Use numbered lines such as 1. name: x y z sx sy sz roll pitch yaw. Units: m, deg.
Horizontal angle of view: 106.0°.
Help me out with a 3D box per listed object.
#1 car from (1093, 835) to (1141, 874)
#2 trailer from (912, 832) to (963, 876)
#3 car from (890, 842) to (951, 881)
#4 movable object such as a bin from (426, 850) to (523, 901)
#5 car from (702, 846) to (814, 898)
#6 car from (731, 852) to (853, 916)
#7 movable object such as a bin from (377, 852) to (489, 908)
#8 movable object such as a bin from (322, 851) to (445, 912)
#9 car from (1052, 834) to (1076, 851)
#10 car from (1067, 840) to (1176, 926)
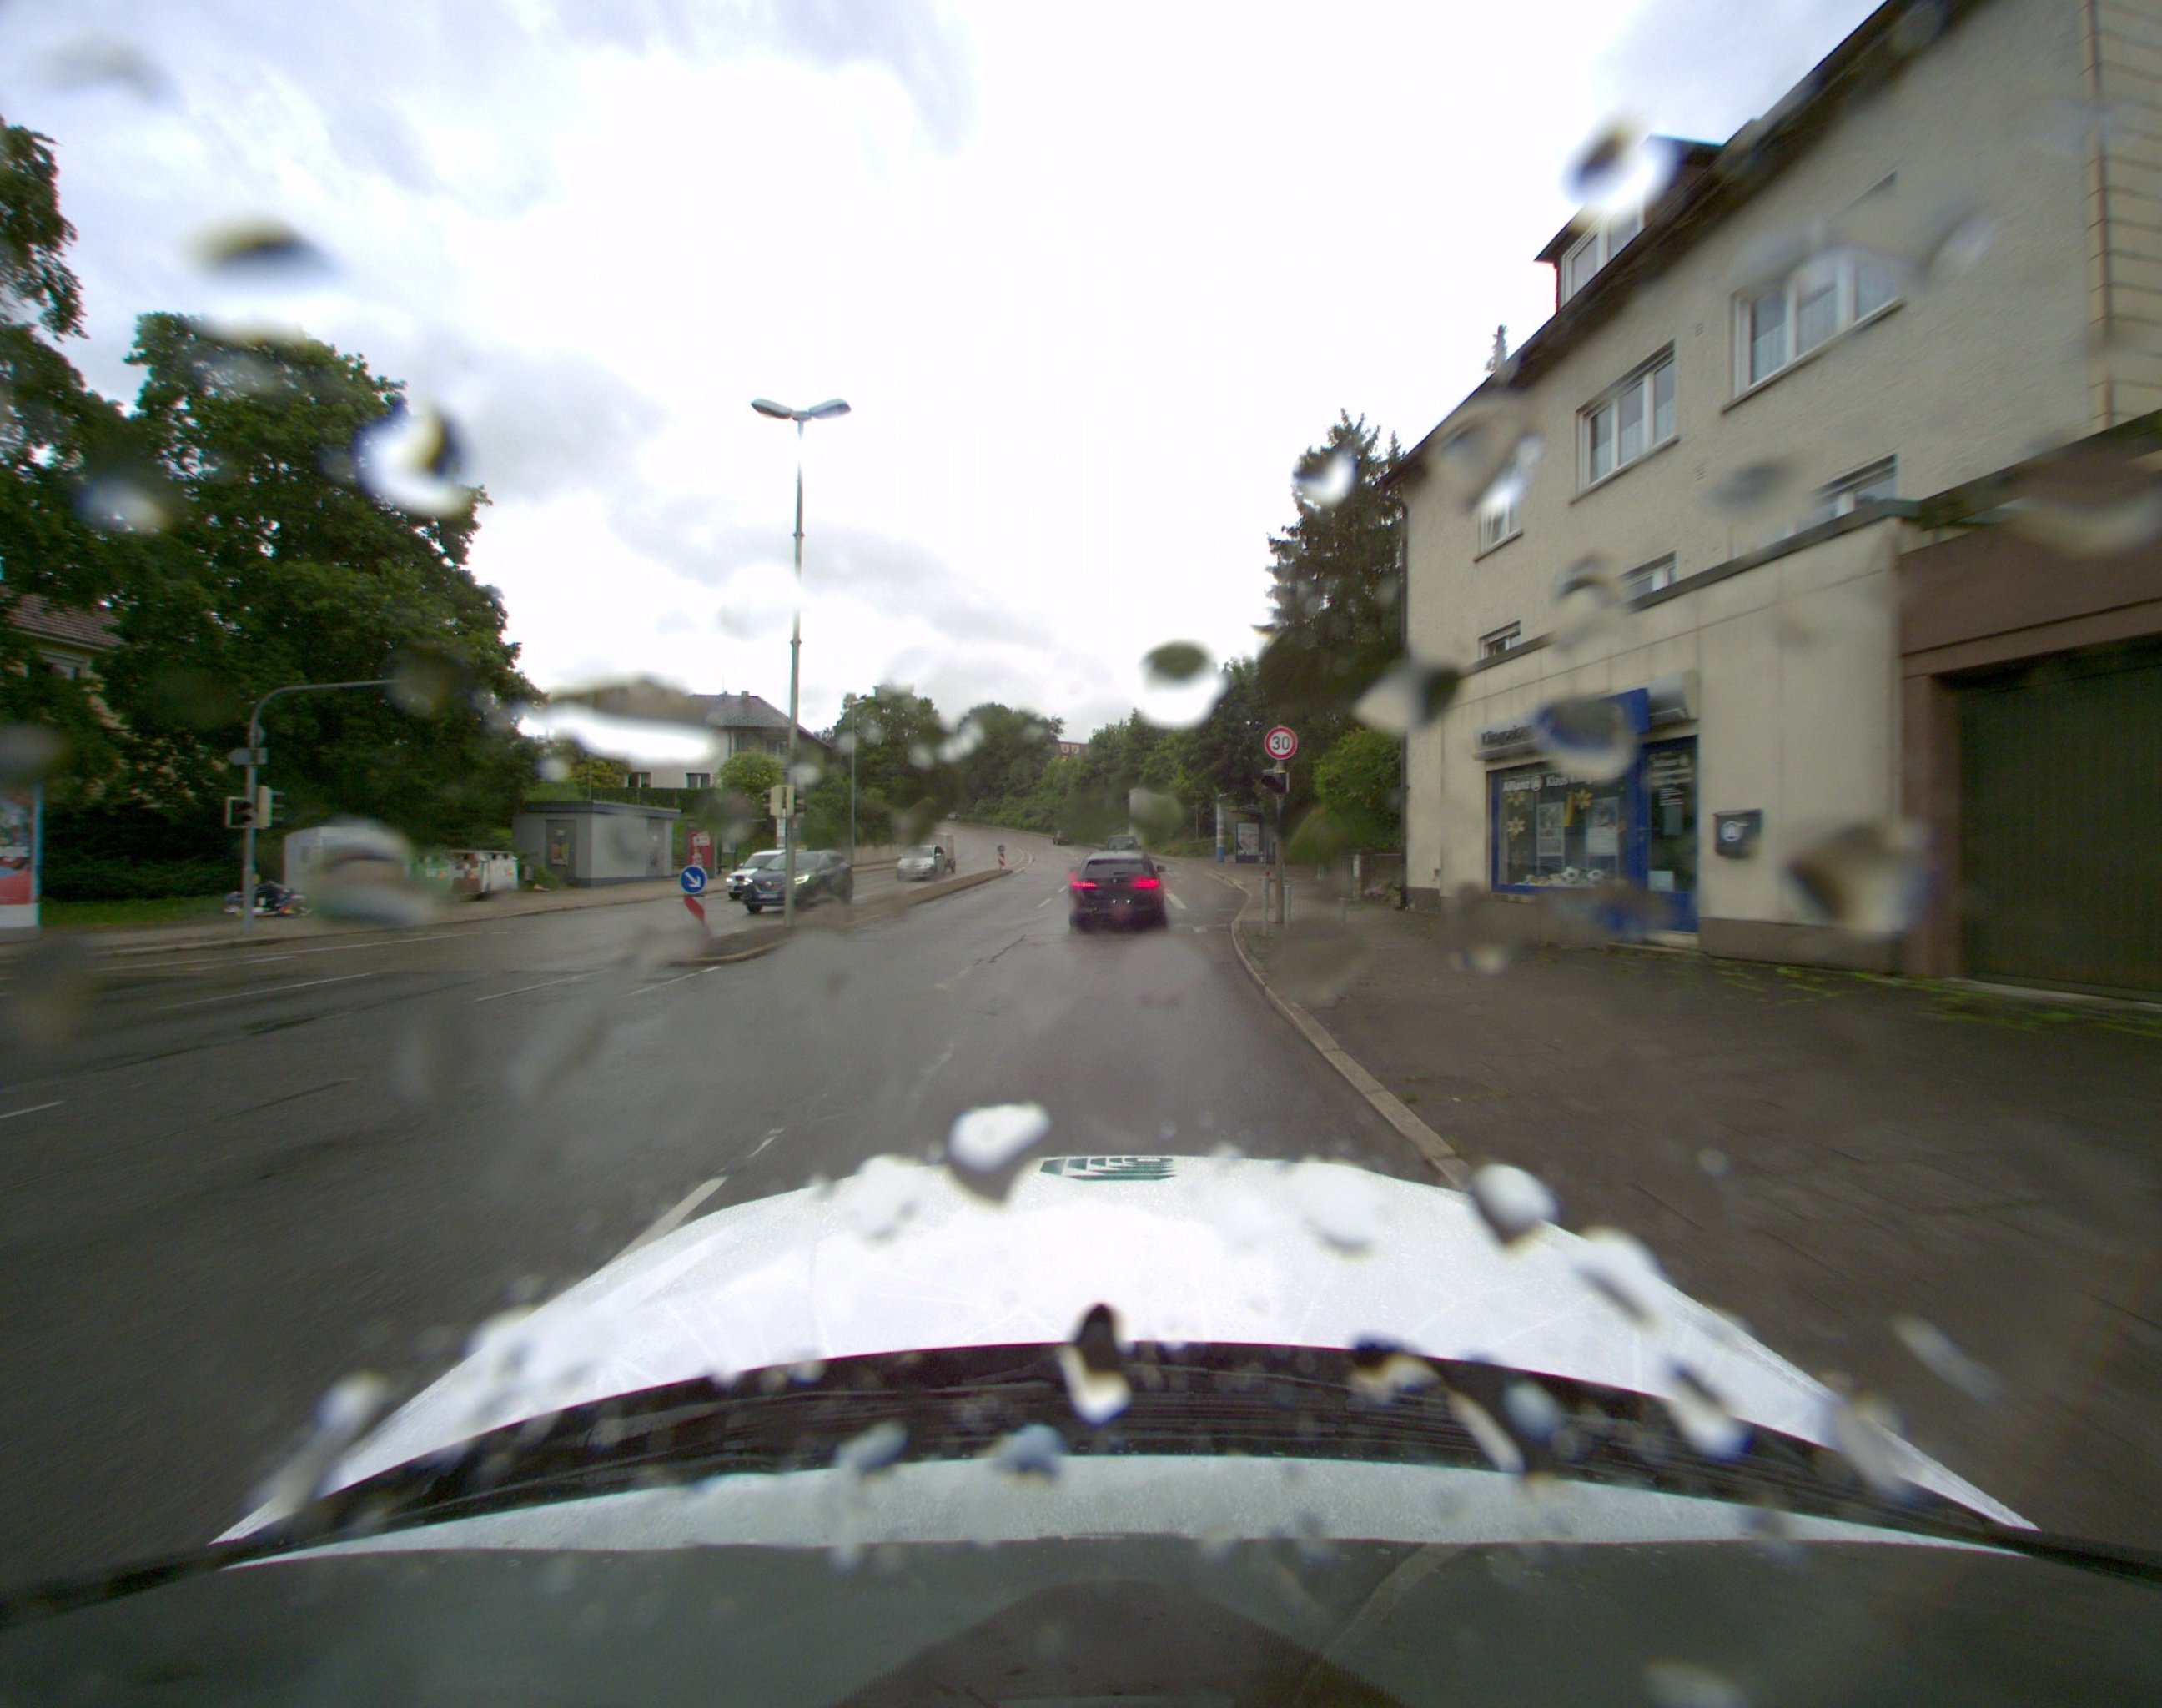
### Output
1. car: 1.678 -0.030 39.207 1.988 1.748 3.997 -1 1 -2
2. trailer: -7.488 0.011 42.800 1.890 2.179 4.036 -1 0 1
3. car: -7.528 0.305 38.547 1.893 1.682 4.480 -1 1 1
4. movable object such as a bin: -19.351 0.677 26.024 2.048 1.514 1.346 -1 1 5
5. car: -11.328 0.579 28.944 1.815 1.657 4.472 -2 0 5
6. car: -7.845 0.749 22.593 1.836 1.552 4.382 -2 0 -1
7. movable object such as a bin: -19.492 0.758 24.570 2.048 1.568 1.584 -1 1 5
8. movable object such as a bin: -19.616 0.753 22.974 2.048 1.568 1.584 -1 1 5
9. car: -1.756 -1.122 82.375 1.852 1.662 3.986 0 1 -10
10. car: 0.707 0.610 17.331 1.988 1.586 4.659 0 -2 -1
